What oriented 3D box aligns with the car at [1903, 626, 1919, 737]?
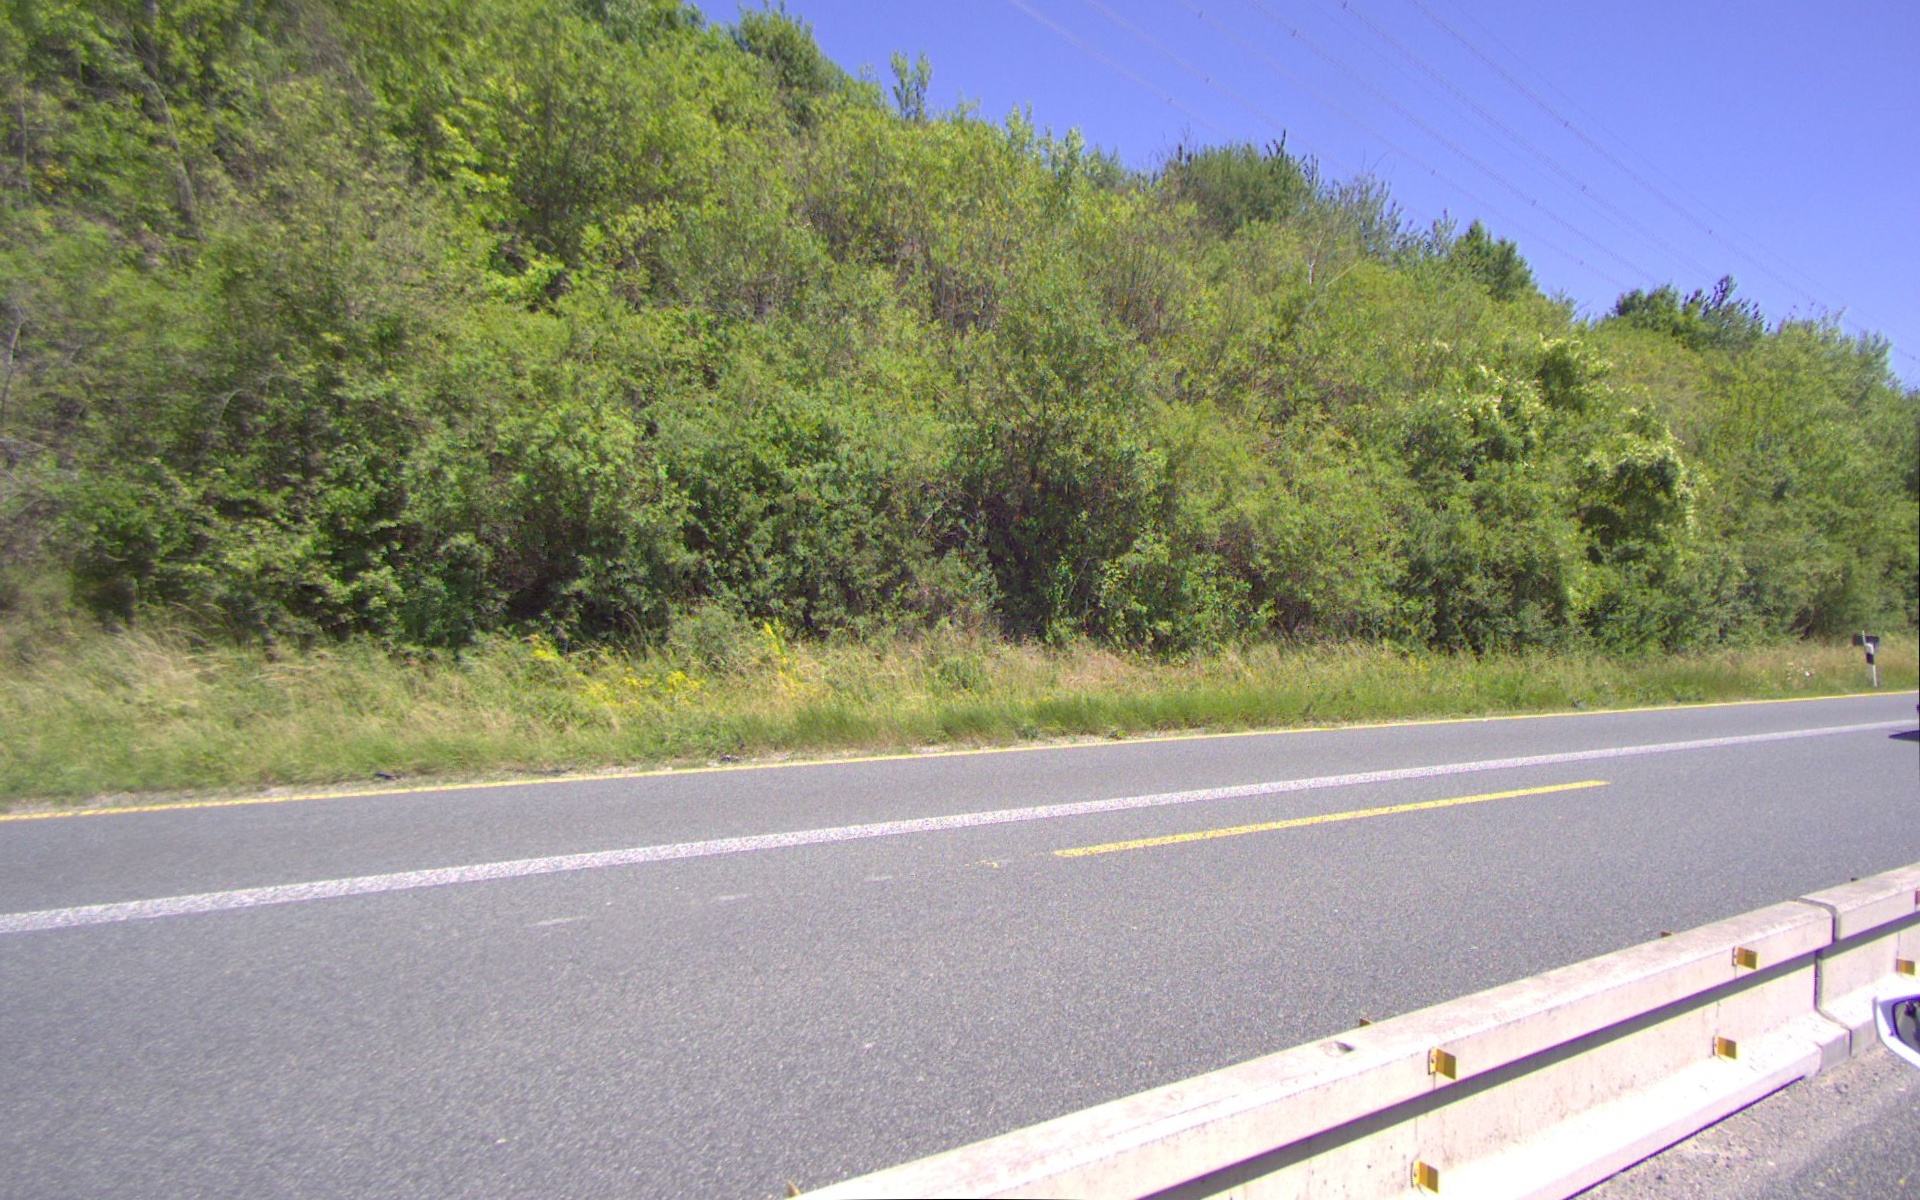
[{"bbox_3d":[14.399,1.122,13.359,4.024,1.412,1.665,2,0,-31],"label":"car"}]
